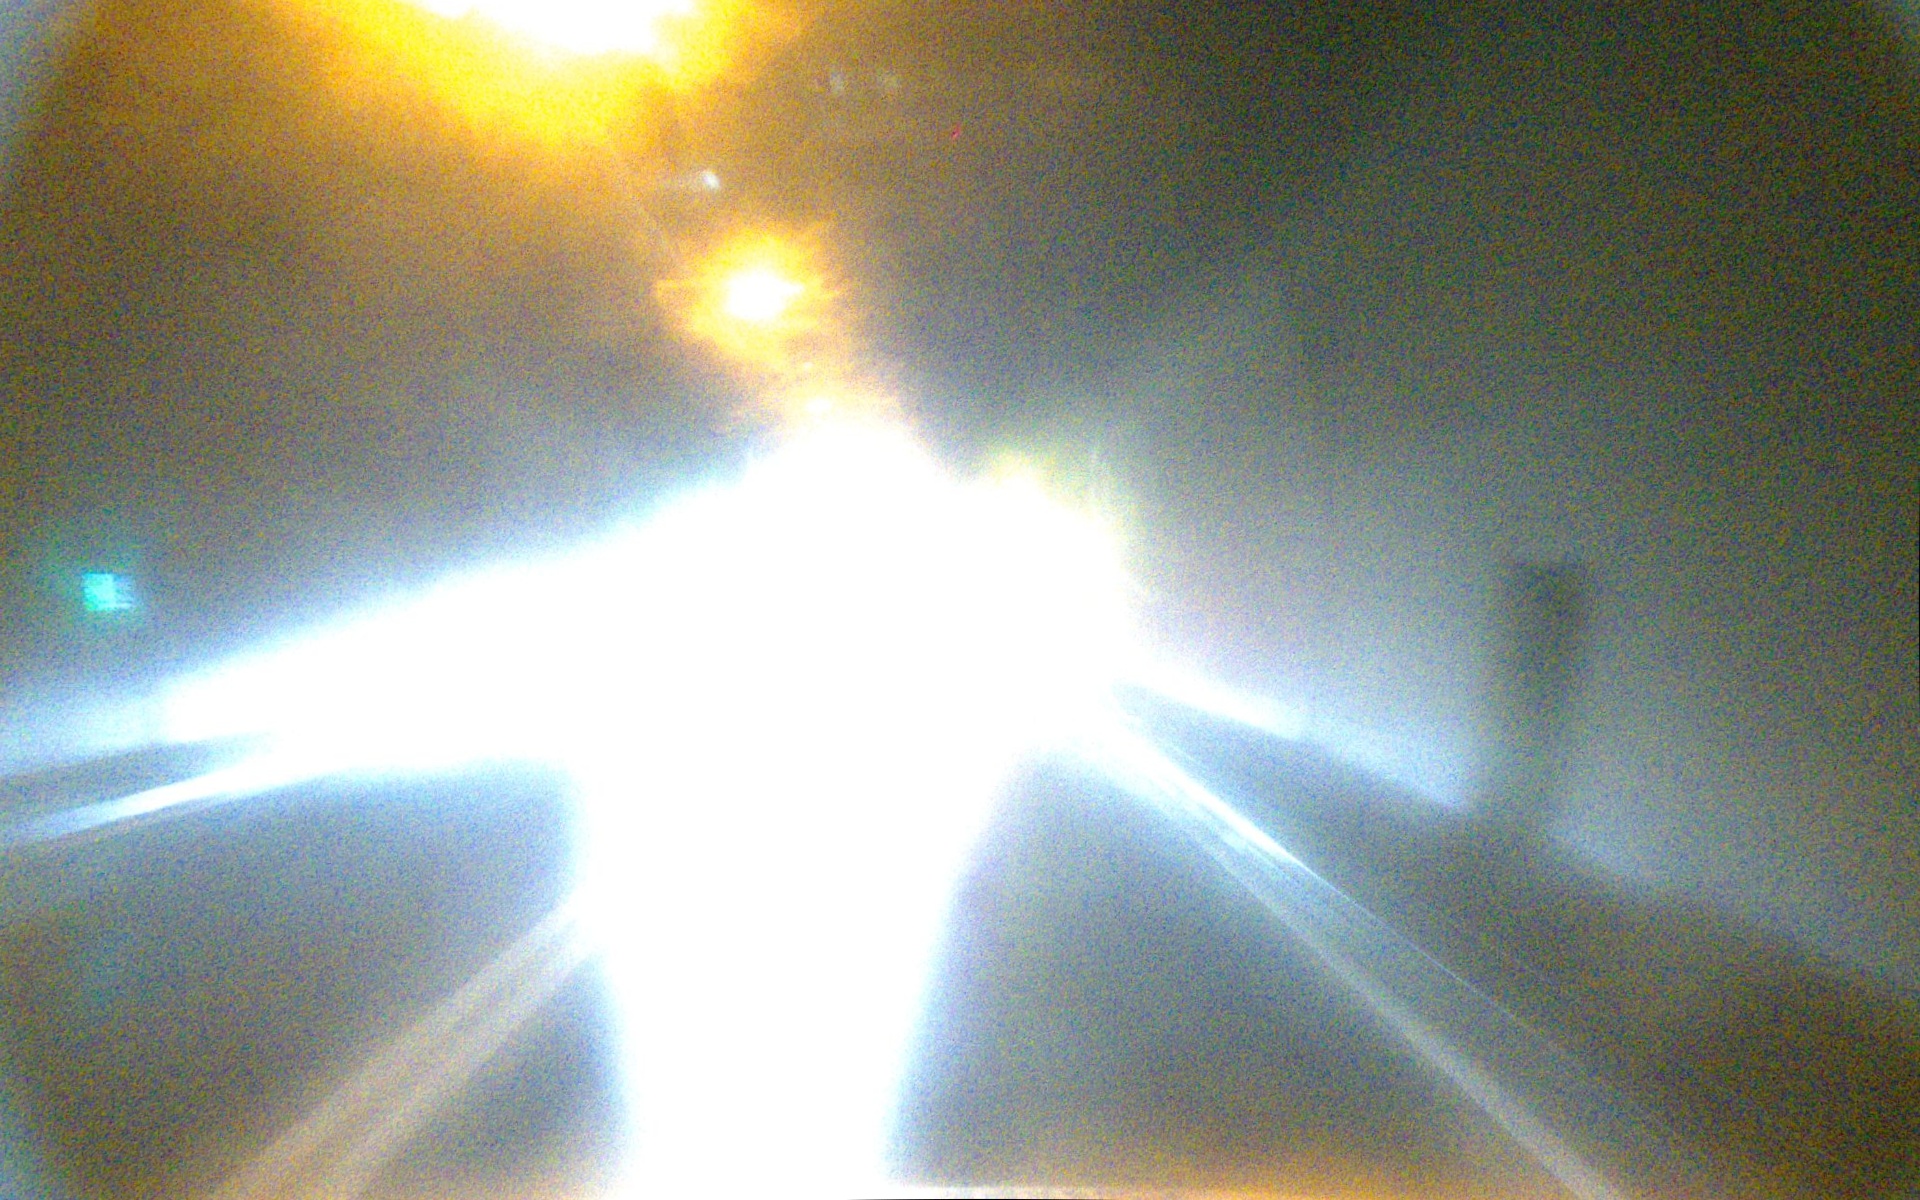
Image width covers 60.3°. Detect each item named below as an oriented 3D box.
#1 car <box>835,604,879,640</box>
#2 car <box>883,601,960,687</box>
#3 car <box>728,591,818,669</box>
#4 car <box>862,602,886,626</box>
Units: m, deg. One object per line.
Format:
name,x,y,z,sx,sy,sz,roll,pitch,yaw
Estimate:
car,-4.528,0.959,73.013,1.713,1.506,4.475,1,0,-1
car,-0.844,0.923,37.085,1.602,1.788,4.145,1,0,-1
car,-4.278,0.650,38.378,1.663,1.705,4.126,1,0,-1
car,-5.894,0.961,114.034,1.489,1.576,4.053,1,1,-1
